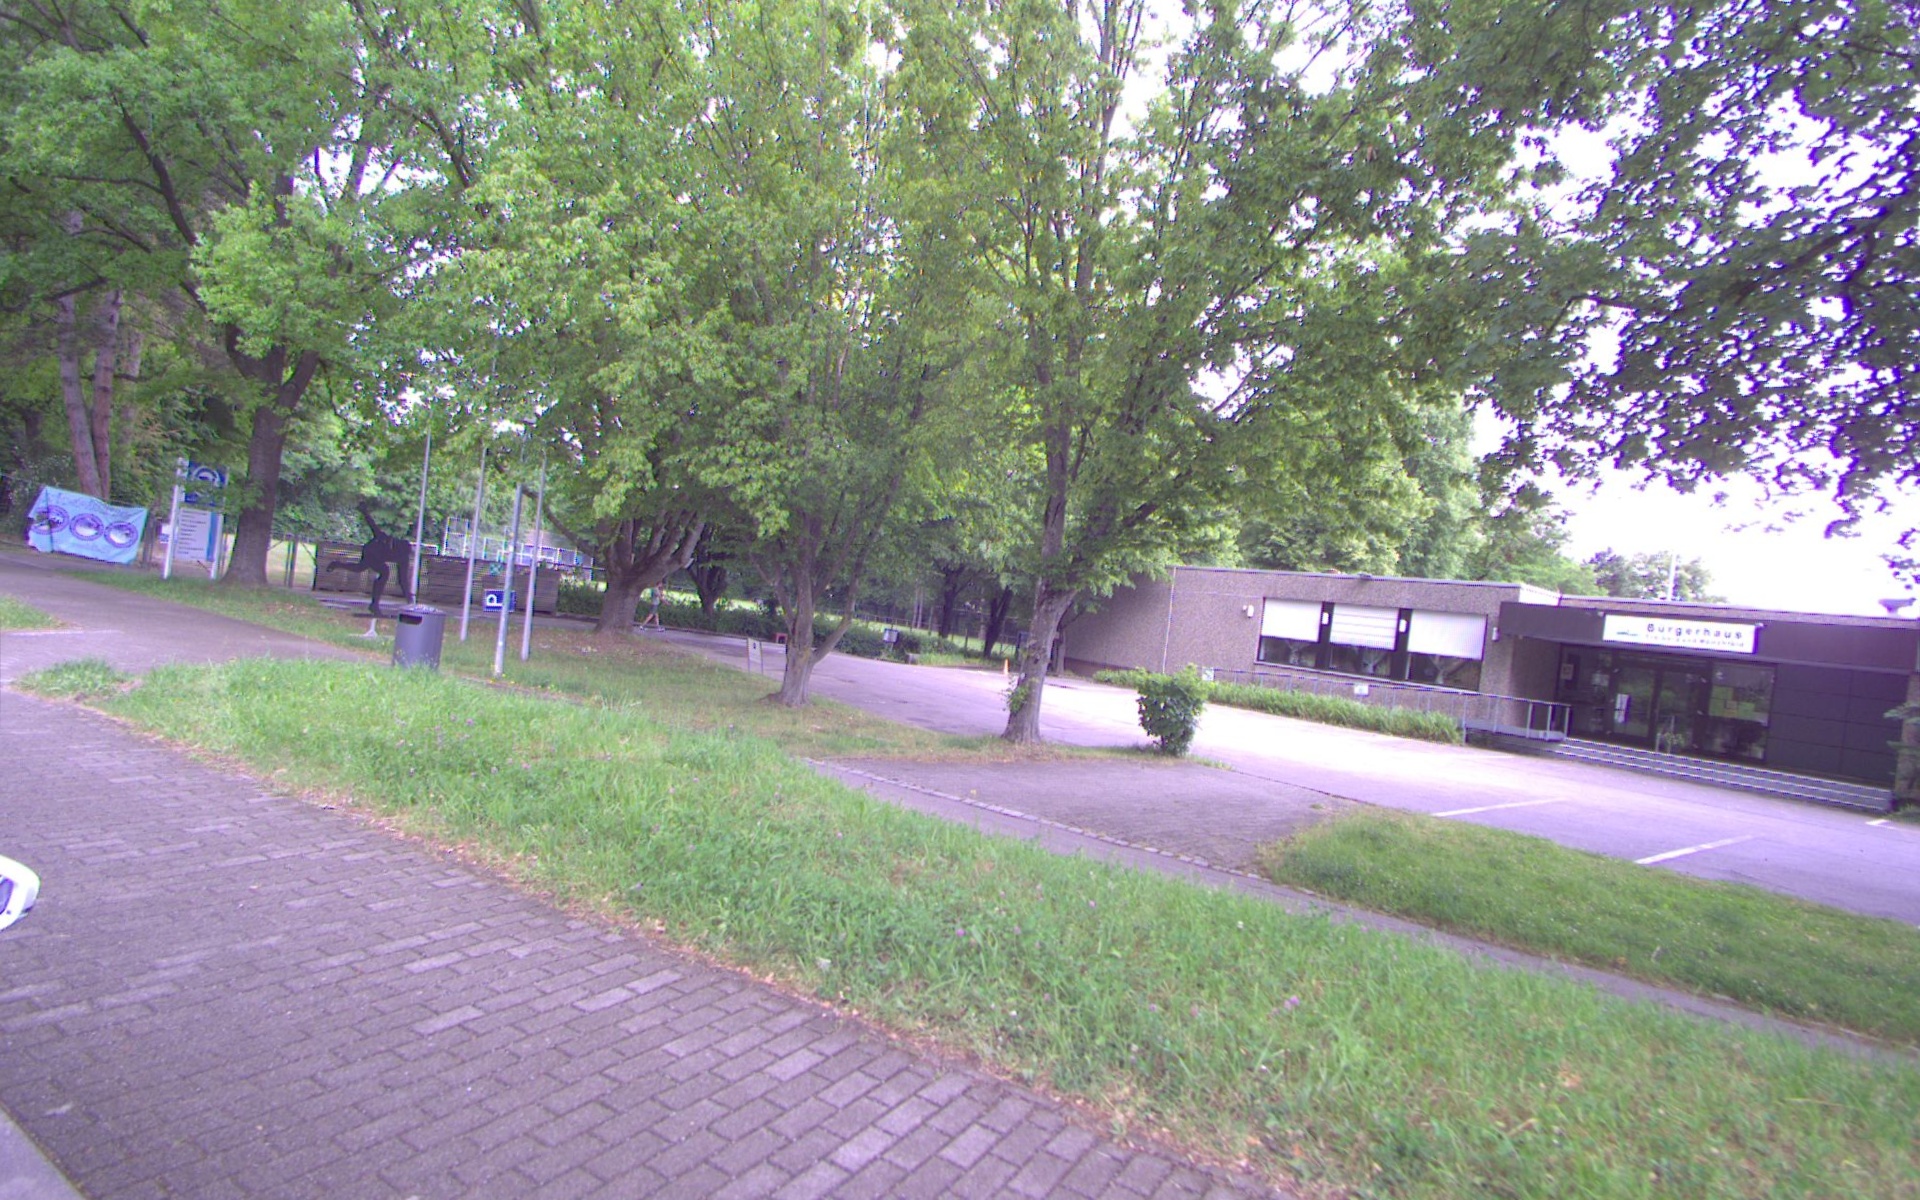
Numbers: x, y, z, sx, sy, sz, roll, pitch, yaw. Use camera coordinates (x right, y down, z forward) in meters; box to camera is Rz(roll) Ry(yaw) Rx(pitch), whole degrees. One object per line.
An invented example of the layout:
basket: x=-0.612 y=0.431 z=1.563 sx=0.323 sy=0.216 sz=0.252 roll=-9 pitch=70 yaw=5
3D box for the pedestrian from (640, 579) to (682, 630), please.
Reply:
pedestrian: x=-10.677 y=0.167 z=35.907 sx=1.139 sy=1.695 sz=0.786 roll=5 pitch=1 yaw=-33
